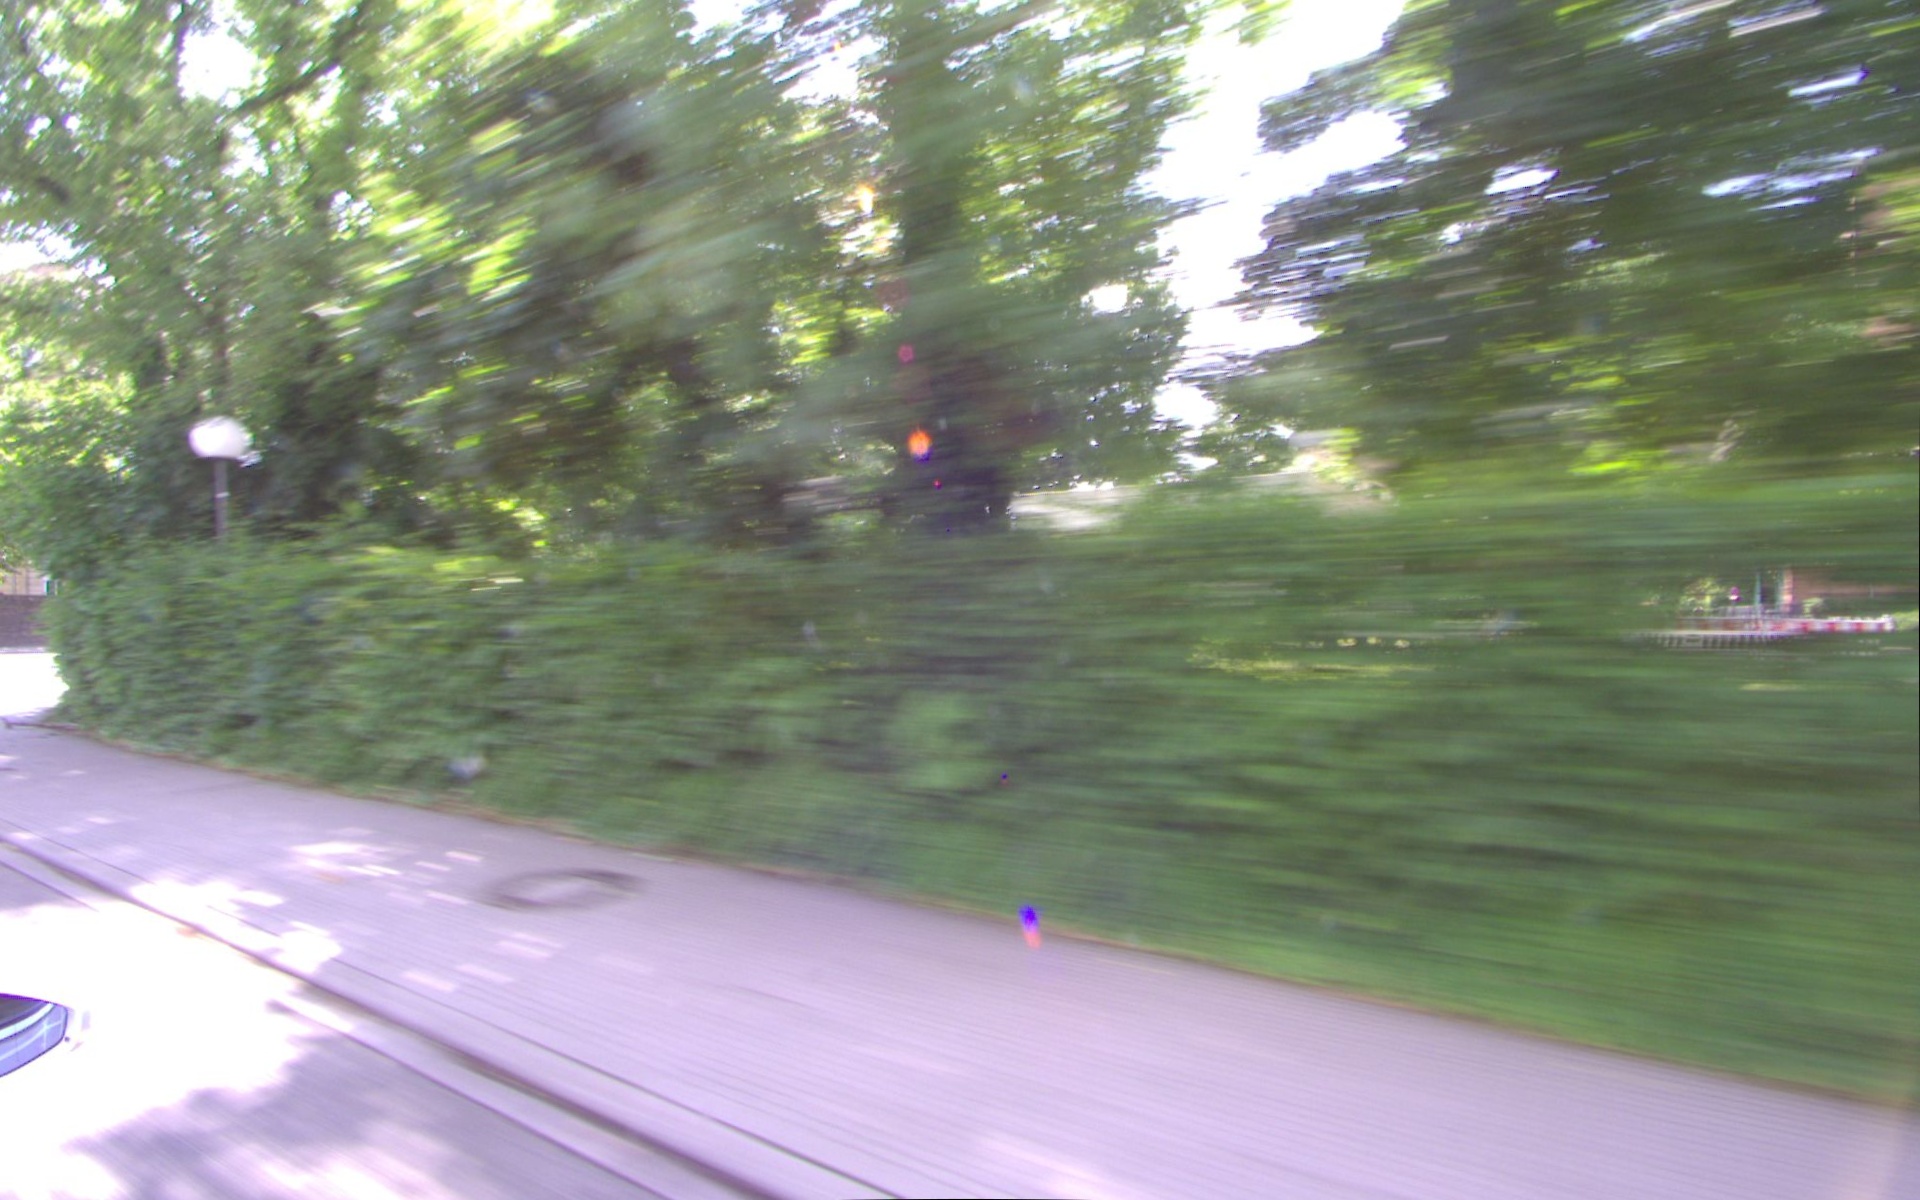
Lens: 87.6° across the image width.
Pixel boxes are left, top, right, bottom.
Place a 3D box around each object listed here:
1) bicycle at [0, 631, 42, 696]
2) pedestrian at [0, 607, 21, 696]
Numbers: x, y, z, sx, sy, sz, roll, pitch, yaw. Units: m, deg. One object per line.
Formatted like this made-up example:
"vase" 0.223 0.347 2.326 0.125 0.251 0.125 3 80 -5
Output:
"bicycle" -17.881 1.194 18.119 0.585 1.142 1.734 -1 1 28
"pedestrian" -17.754 0.946 18.214 0.716 1.597 0.730 -1 2 29
